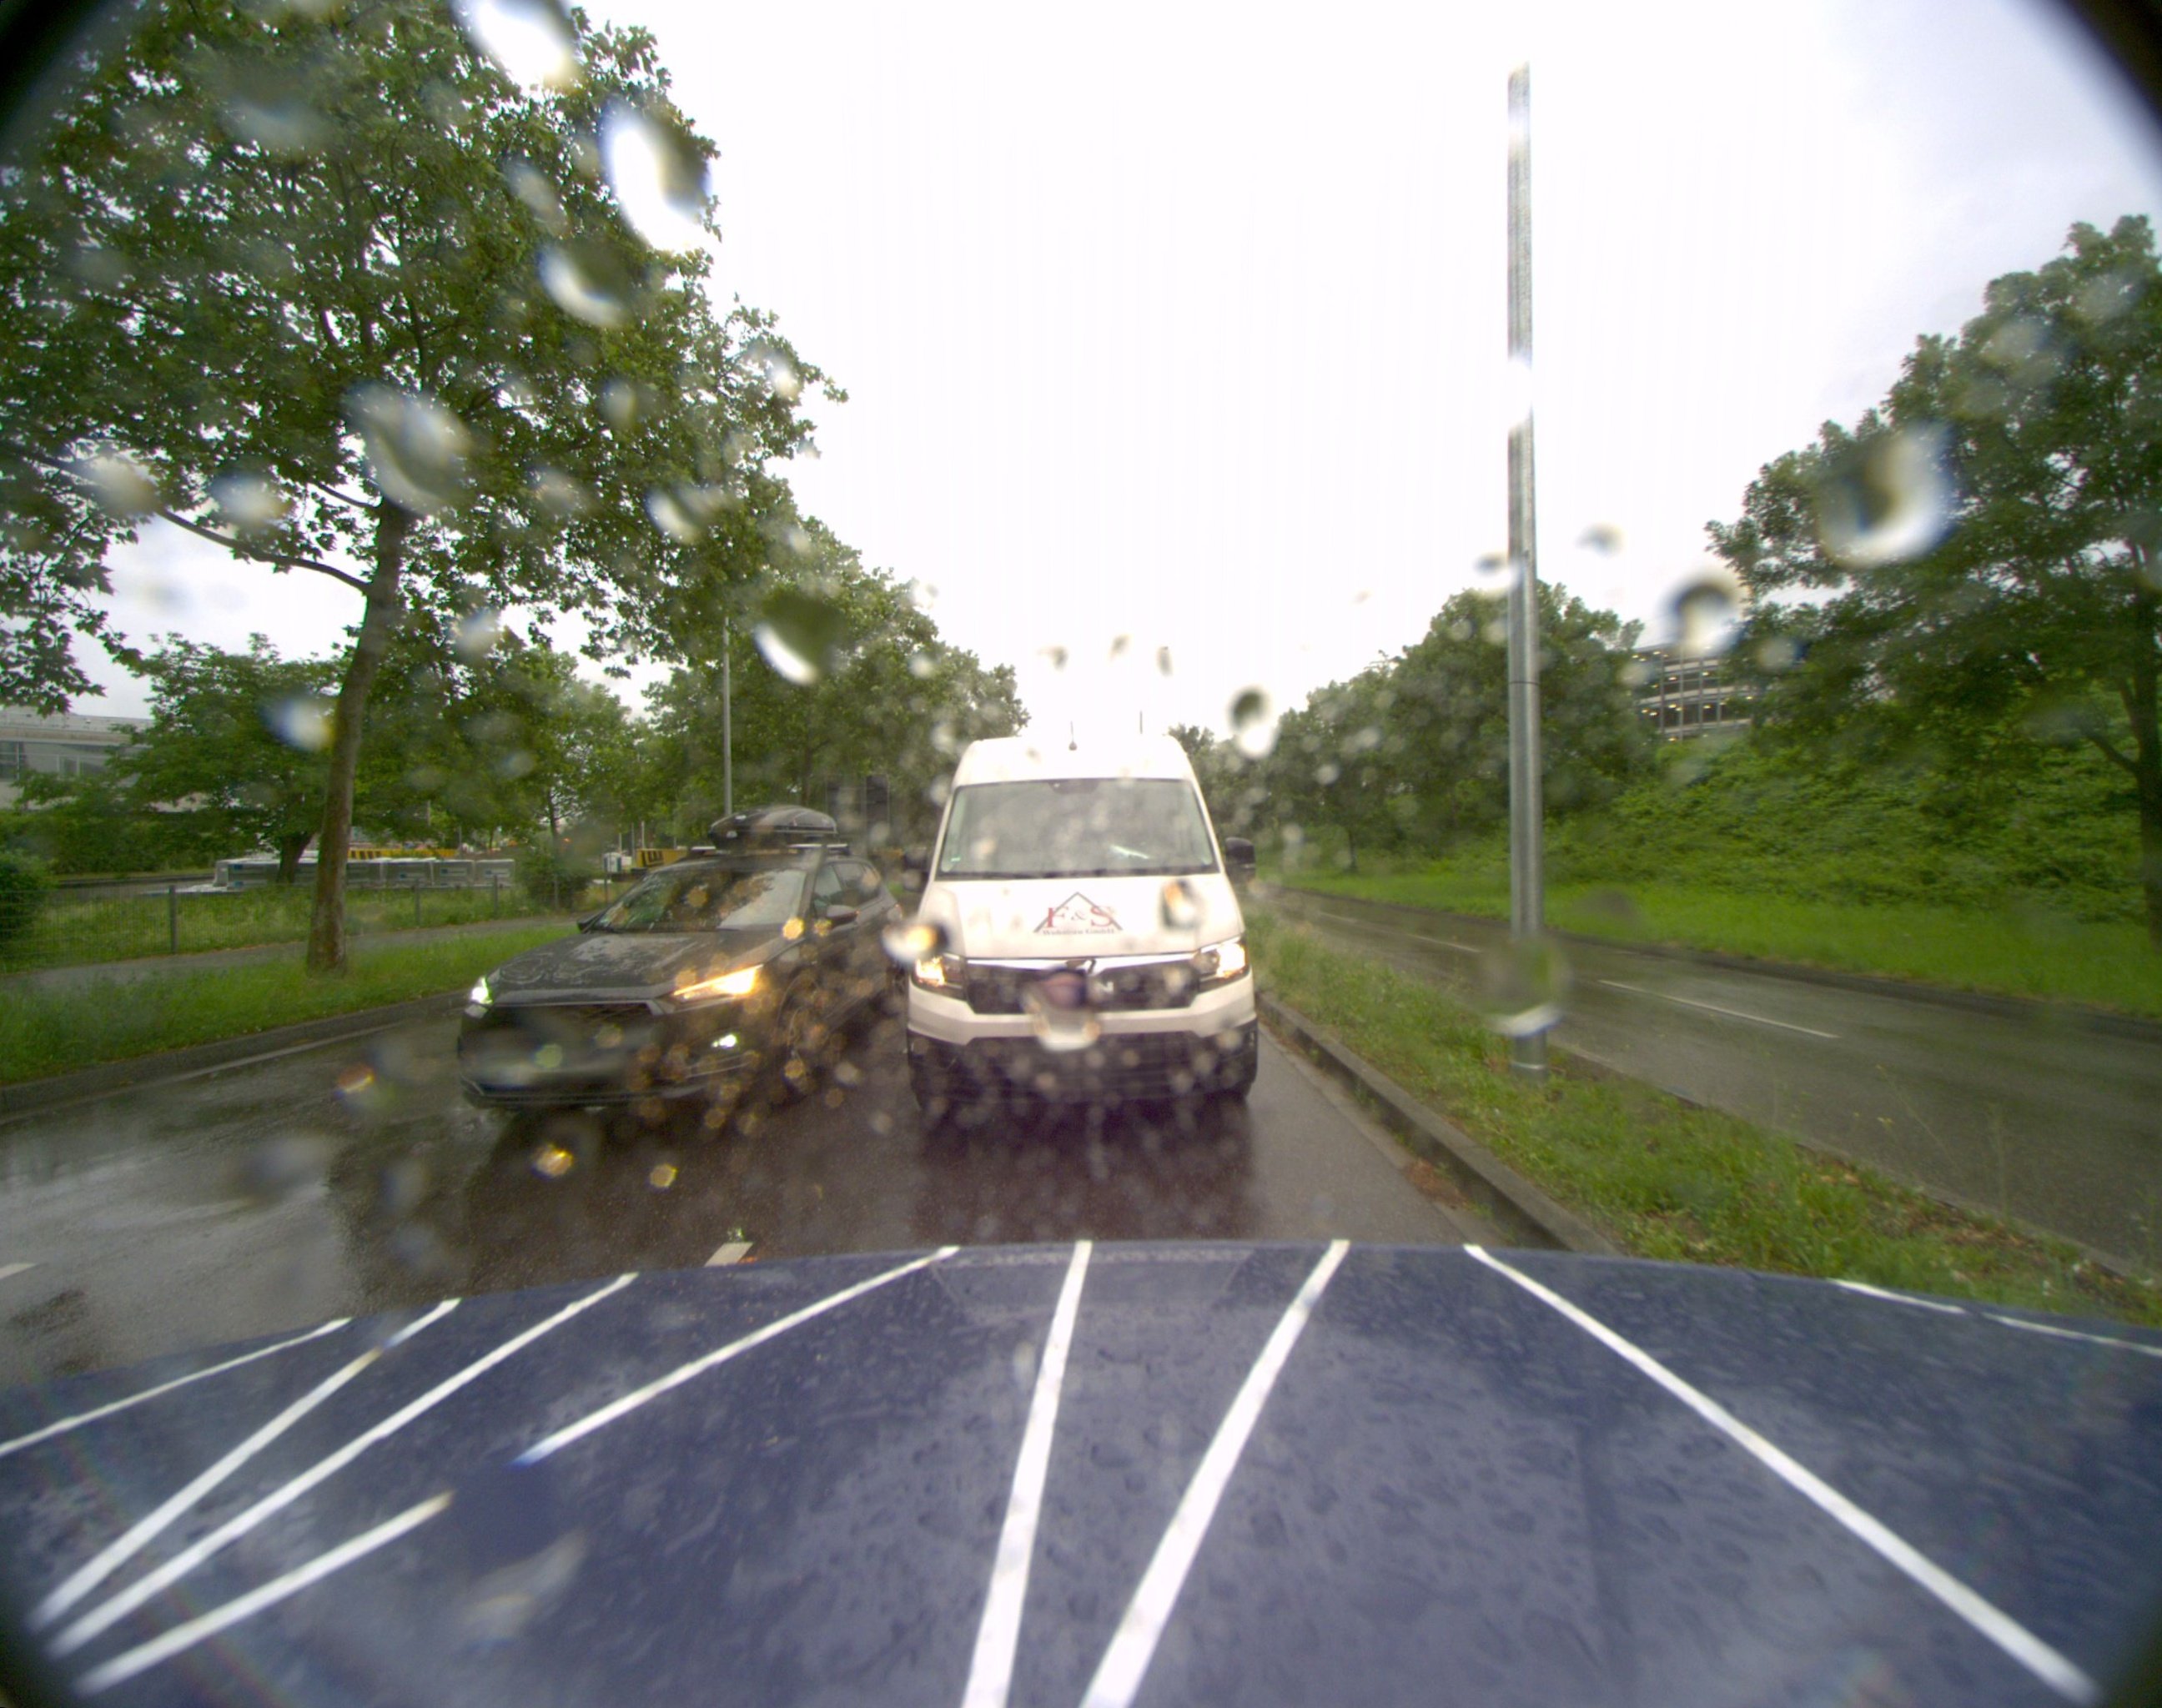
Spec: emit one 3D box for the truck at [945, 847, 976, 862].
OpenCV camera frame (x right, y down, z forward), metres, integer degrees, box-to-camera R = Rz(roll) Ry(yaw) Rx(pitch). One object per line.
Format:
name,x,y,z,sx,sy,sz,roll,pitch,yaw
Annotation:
truck,-20.996,0.077,132.618,5.061,2.363,1.792,-3,1,-30

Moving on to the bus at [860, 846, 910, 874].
bus,-19.146,0.559,74.390,4.370,2.553,1.711,-2,1,0

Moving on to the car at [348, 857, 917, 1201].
car,-2.747,0.900,6.071,1.894,1.688,4.423,-1,0,0

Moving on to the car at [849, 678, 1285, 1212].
car,-0.111,0.425,6.458,2.027,2.498,5.695,-1,0,-1

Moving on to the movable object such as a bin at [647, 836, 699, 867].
movable object such as a bin,-48.062,-0.298,89.625,1.913,3.415,4.947,-1,1,34

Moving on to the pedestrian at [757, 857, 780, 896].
pedestrian,-13.778,0.982,33.491,0.646,1.707,0.656,-2,1,1

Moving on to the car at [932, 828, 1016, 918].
car,-3.175,0.519,23.567,1.894,2.432,5.317,-1,0,-1
